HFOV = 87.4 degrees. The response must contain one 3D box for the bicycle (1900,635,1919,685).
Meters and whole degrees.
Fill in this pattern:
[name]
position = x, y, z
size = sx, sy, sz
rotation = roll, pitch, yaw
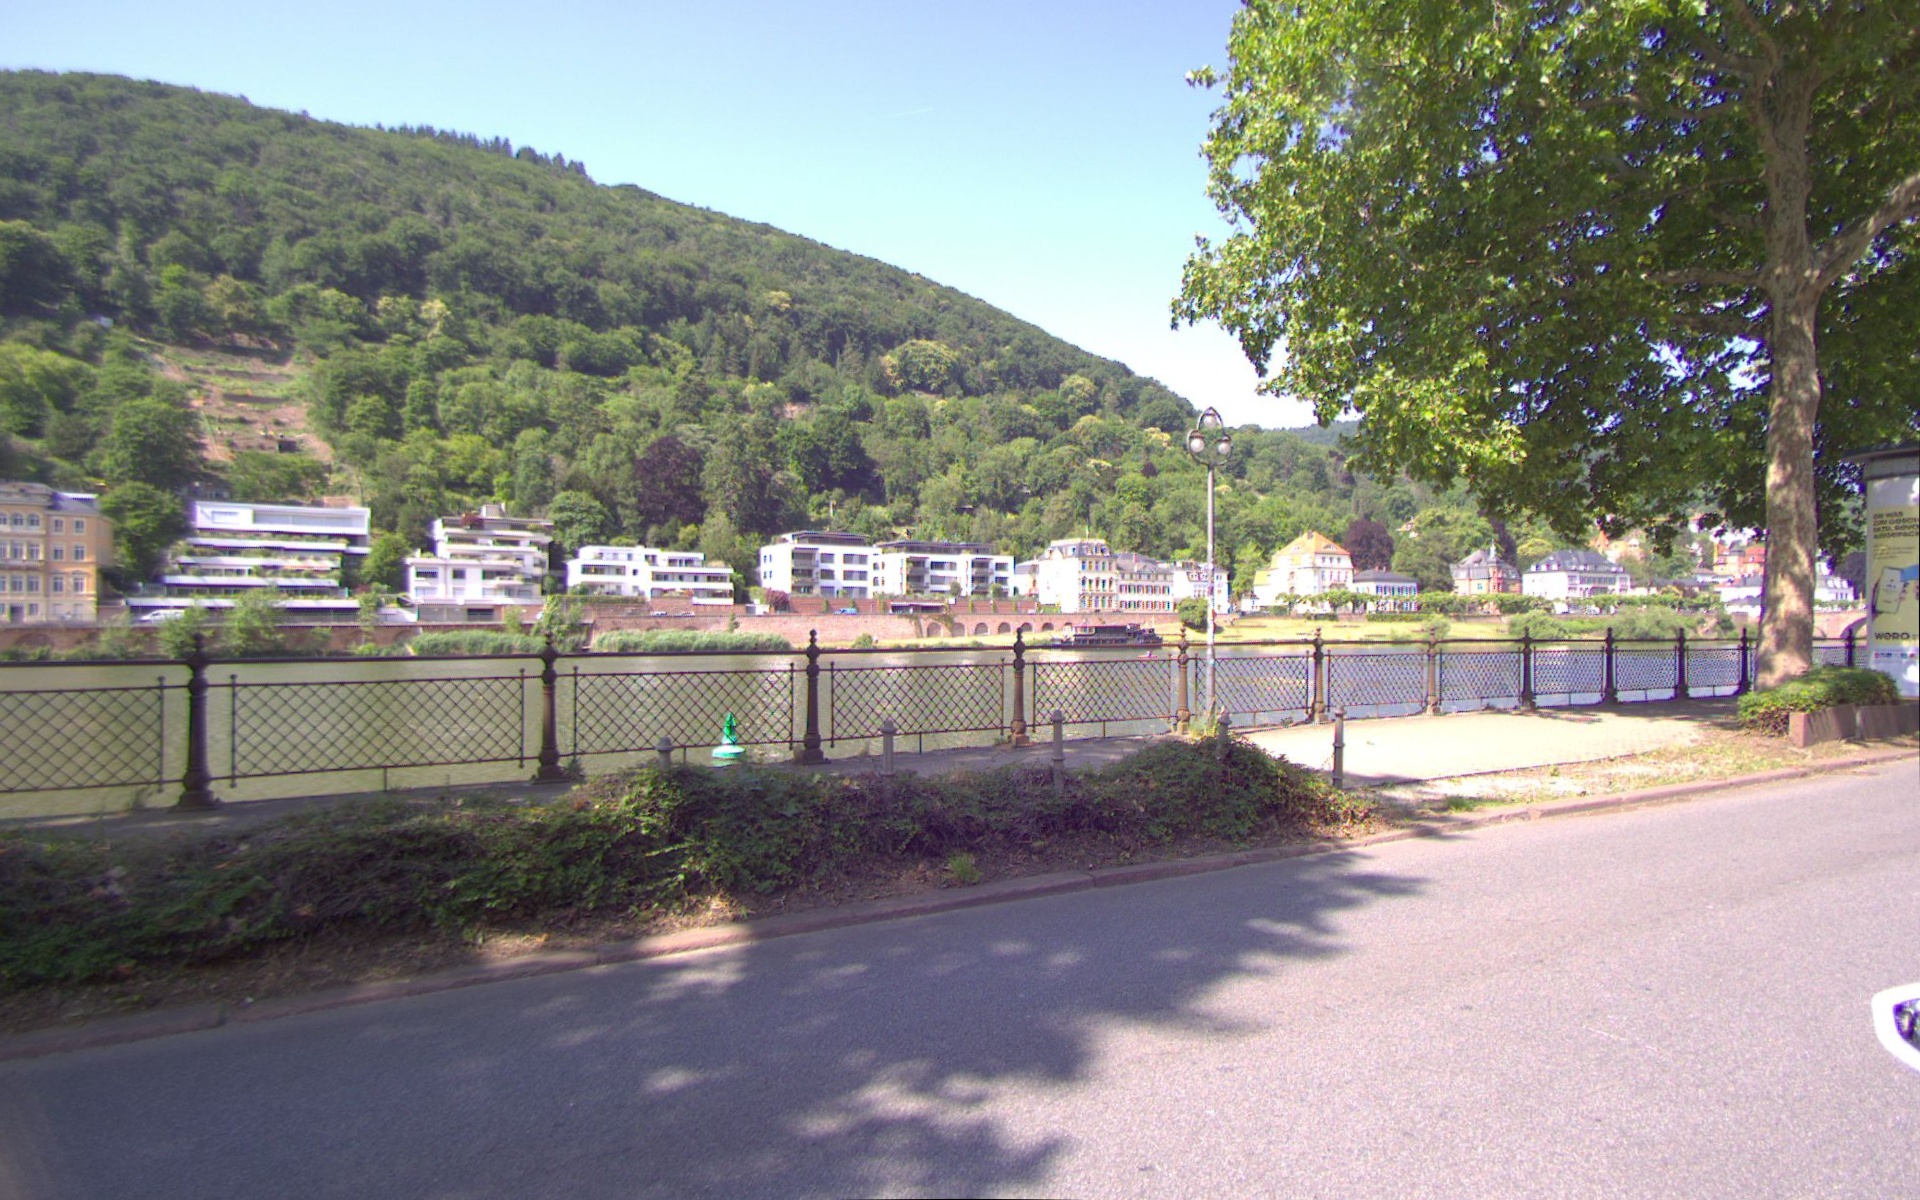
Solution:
[bicycle]
position = 23.341, 1.435, 24.351
size = 1.806, 1.177, 0.355
rotation = 1, 1, -33
